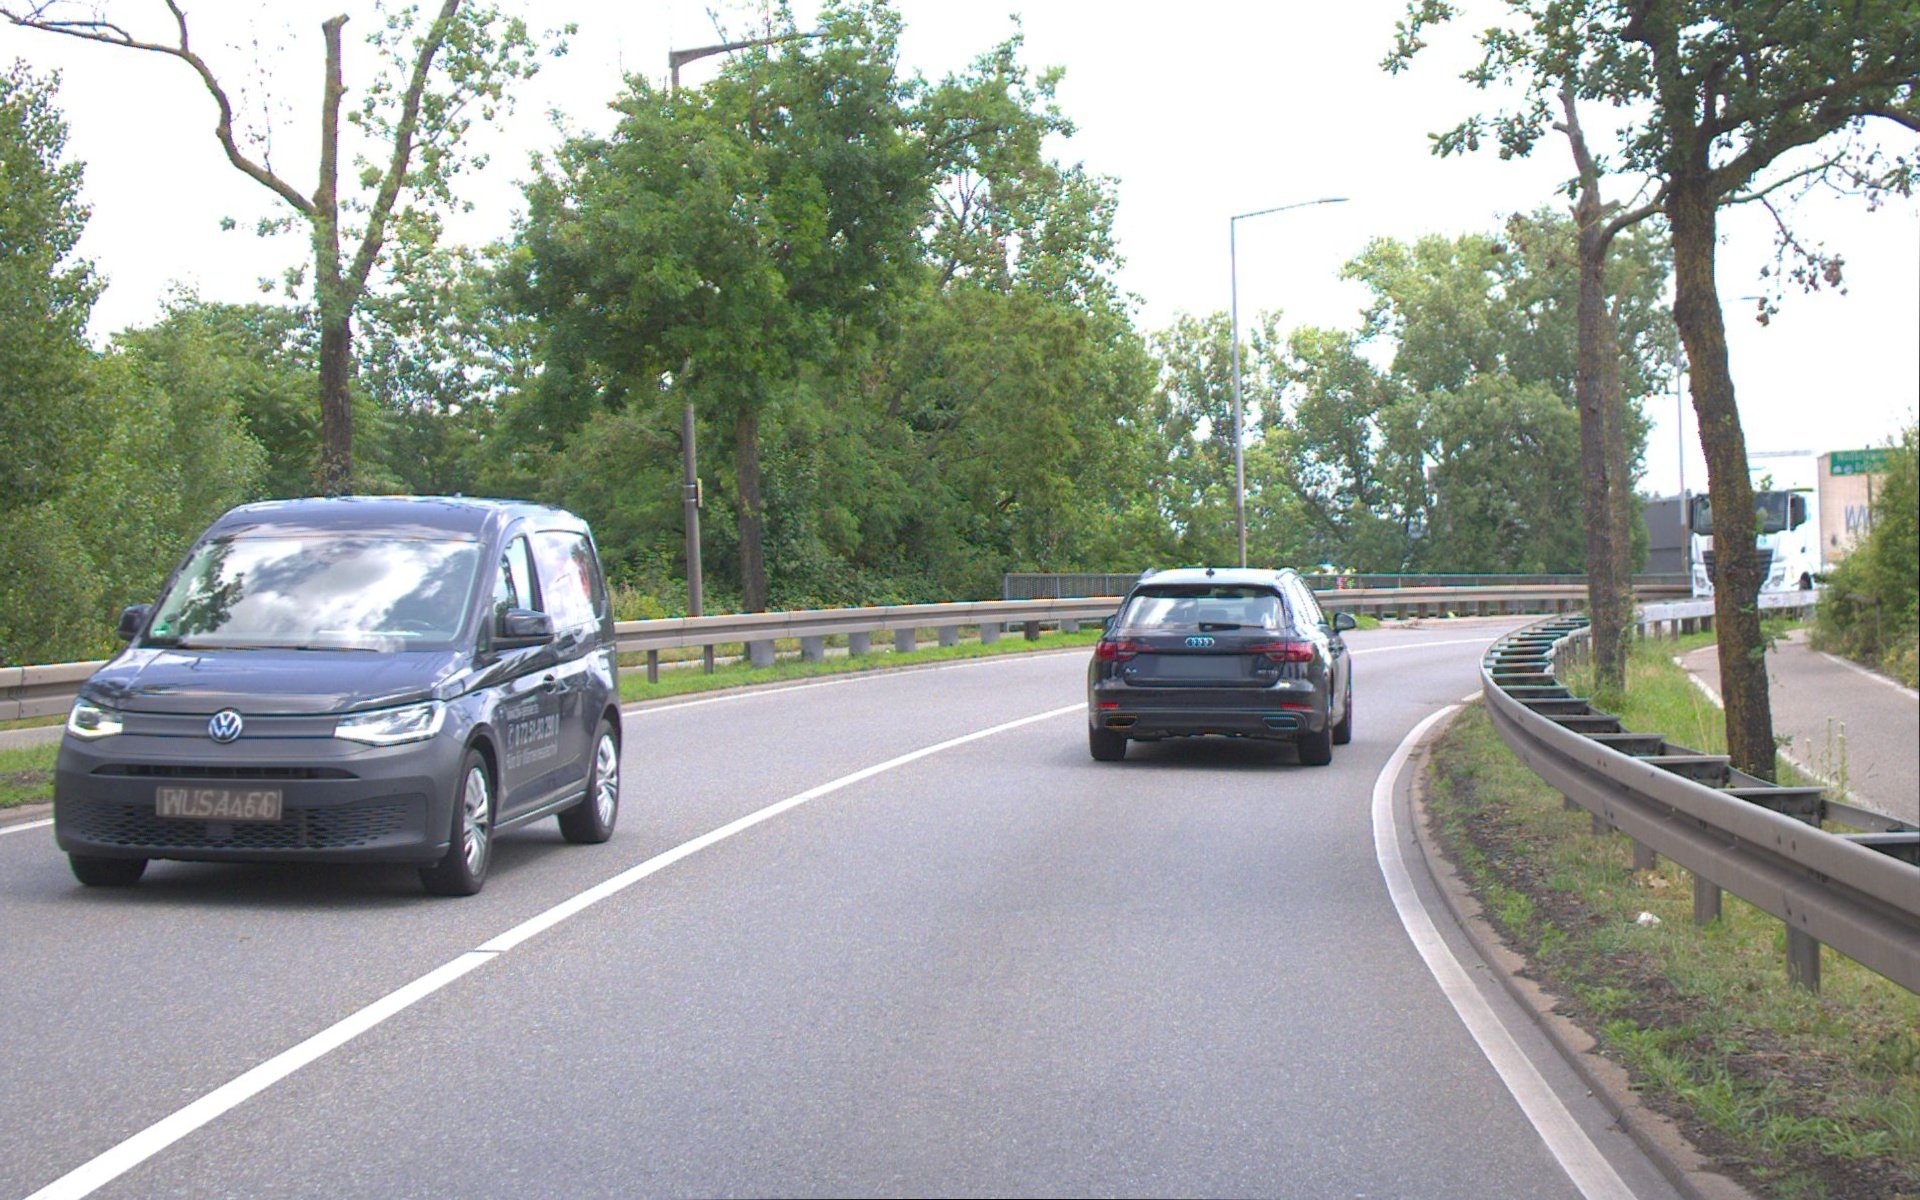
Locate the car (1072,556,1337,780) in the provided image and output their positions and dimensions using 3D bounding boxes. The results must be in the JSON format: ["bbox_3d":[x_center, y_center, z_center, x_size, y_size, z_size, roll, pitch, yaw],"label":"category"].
[{"bbox_3d":[1.837,0.454,26.470,1.828,1.486,4.207,2,1,3],"label":"car"}]

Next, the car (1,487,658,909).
[{"bbox_3d":[-2.818,0.364,16.406,1.853,1.703,4.311,1,1,7],"label":"car"}]

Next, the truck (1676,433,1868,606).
[{"bbox_3d":[20.097,-1.975,84.914,2.766,4.120,5.642,1,1,34],"label":"truck"}]

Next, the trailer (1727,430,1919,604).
[{"bbox_3d":[24.319,-2.122,91.213,2.711,4.265,14.204,1,1,34],"label":"trailer"}]
